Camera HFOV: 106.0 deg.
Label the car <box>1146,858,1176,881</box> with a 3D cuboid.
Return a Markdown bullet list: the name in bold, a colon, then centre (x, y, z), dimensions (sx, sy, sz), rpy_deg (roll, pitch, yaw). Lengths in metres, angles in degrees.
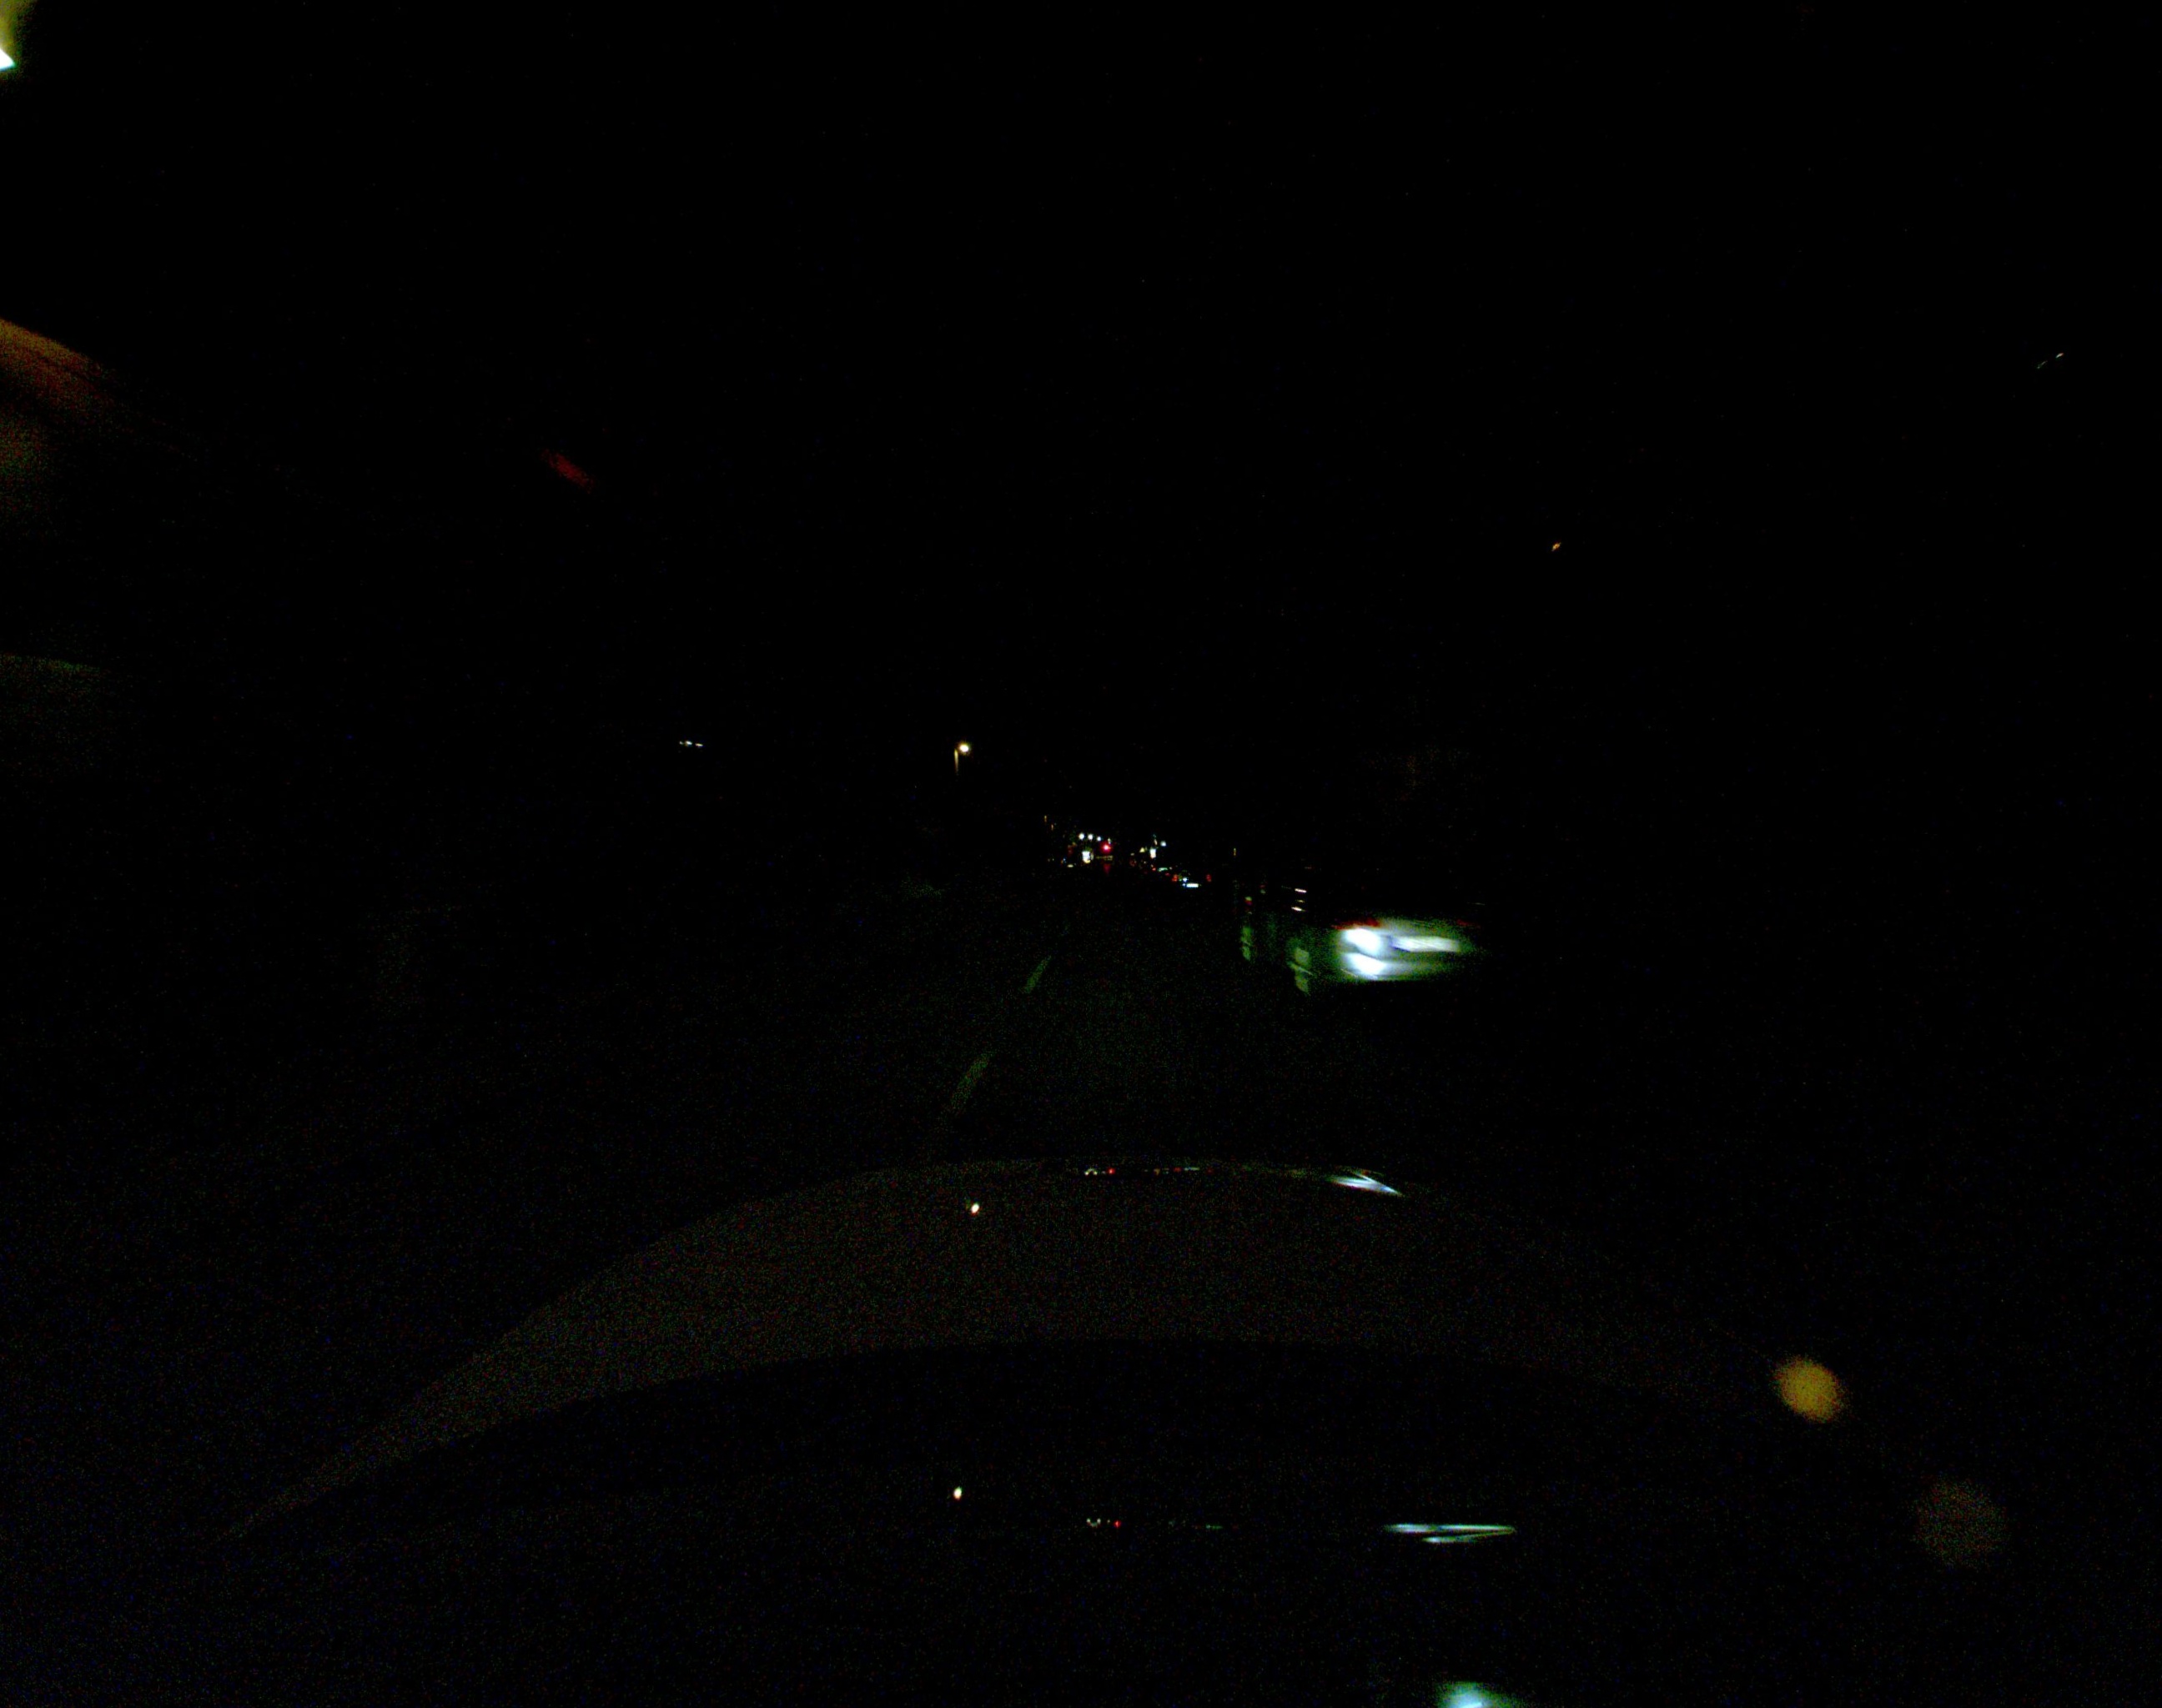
- **car**: centre (5.190, 0.992, 52.423), dimensions (1.859, 1.403, 4.007), rpy_deg (0, 0, 6)

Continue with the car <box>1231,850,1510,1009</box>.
- **car**: centre (3.136, 0.719, 9.835), dimensions (1.758, 1.475, 4.273), rpy_deg (1, 0, -2)

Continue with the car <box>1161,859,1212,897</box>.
- **car**: centre (4.210, 0.916, 32.958), dimensions (1.624, 1.439, 3.865), rpy_deg (-1, 0, 1)

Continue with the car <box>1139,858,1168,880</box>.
- **car**: centre (5.051, 1.009, 57.279), dimensions (1.677, 1.448, 3.999), rpy_deg (0, 0, 0)

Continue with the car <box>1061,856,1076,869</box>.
- **car**: centre (-1.541, 1.027, 99.517), dimensions (1.748, 1.539, 3.729), rpy_deg (-1, 0, -1)

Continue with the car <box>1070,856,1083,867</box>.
- **car**: centre (-0.573, 1.107, 116.629), dimensions (1.747, 1.539, 3.731), rpy_deg (-1, 0, 1)

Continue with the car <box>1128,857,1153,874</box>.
- **car**: centre (5.302, 0.991, 72.535), dimensions (1.679, 1.448, 3.994), rpy_deg (0, 0, -4)

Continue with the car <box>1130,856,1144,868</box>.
- **car**: centre (7.092, 1.001, 104.101), dimensions (1.675, 1.539, 4.003), rpy_deg (-1, 0, 3)

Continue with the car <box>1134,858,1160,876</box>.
- **car**: centre (5.489, 1.079, 67.883), dimensions (1.678, 1.448, 3.996), rpy_deg (0, 0, -3)

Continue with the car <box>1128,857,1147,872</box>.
- **car**: centre (5.820, 1.062, 83.708), dimensions (1.677, 1.448, 4.000), rpy_deg (0, 0, 0)
